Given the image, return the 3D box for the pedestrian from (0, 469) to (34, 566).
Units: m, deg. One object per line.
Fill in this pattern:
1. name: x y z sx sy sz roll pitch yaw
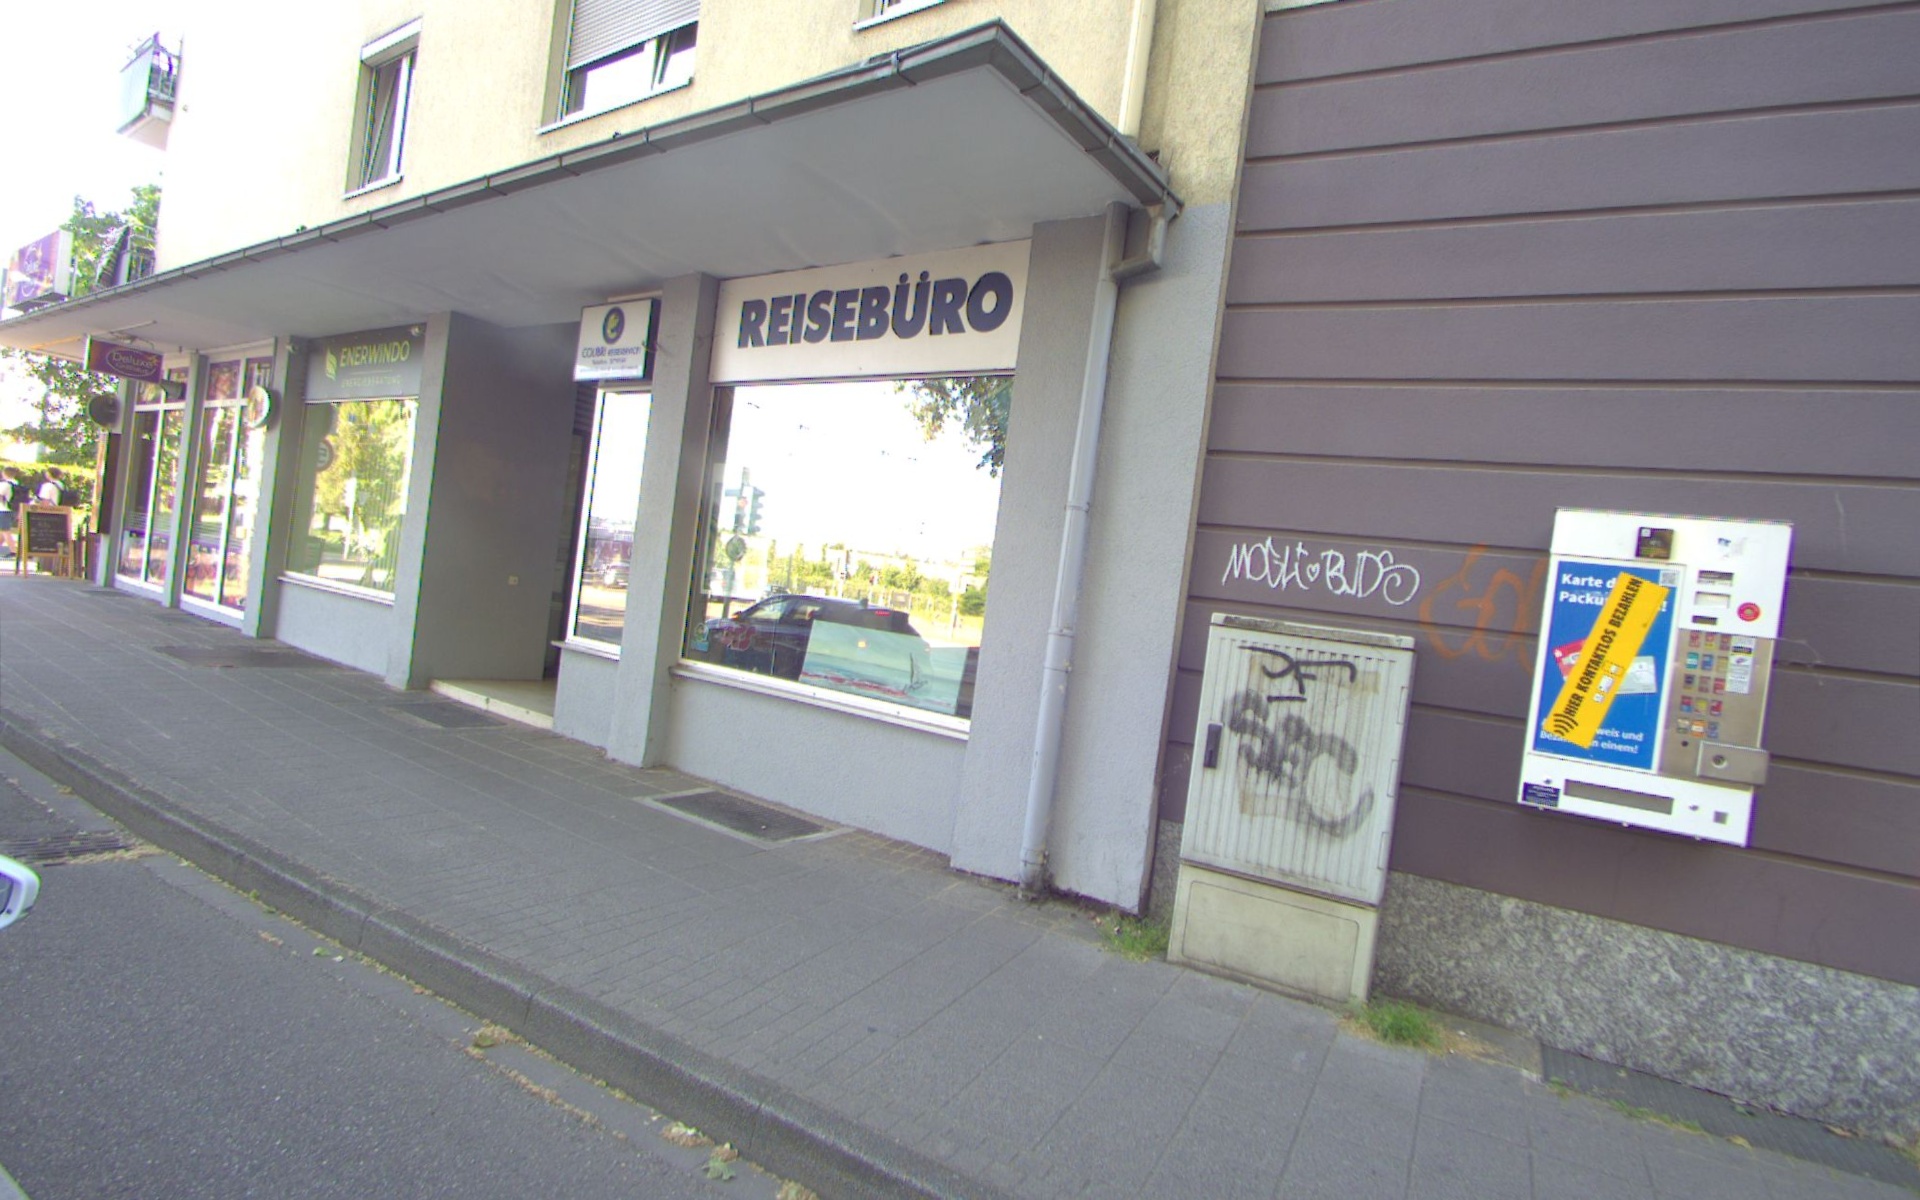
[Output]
1. pedestrian: -18.438 -1.603 19.373 0.573 1.783 0.633 6 -1 36

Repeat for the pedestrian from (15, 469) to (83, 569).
1. pedestrian: -18.017 -1.599 19.905 0.733 1.841 0.634 7 -1 30
